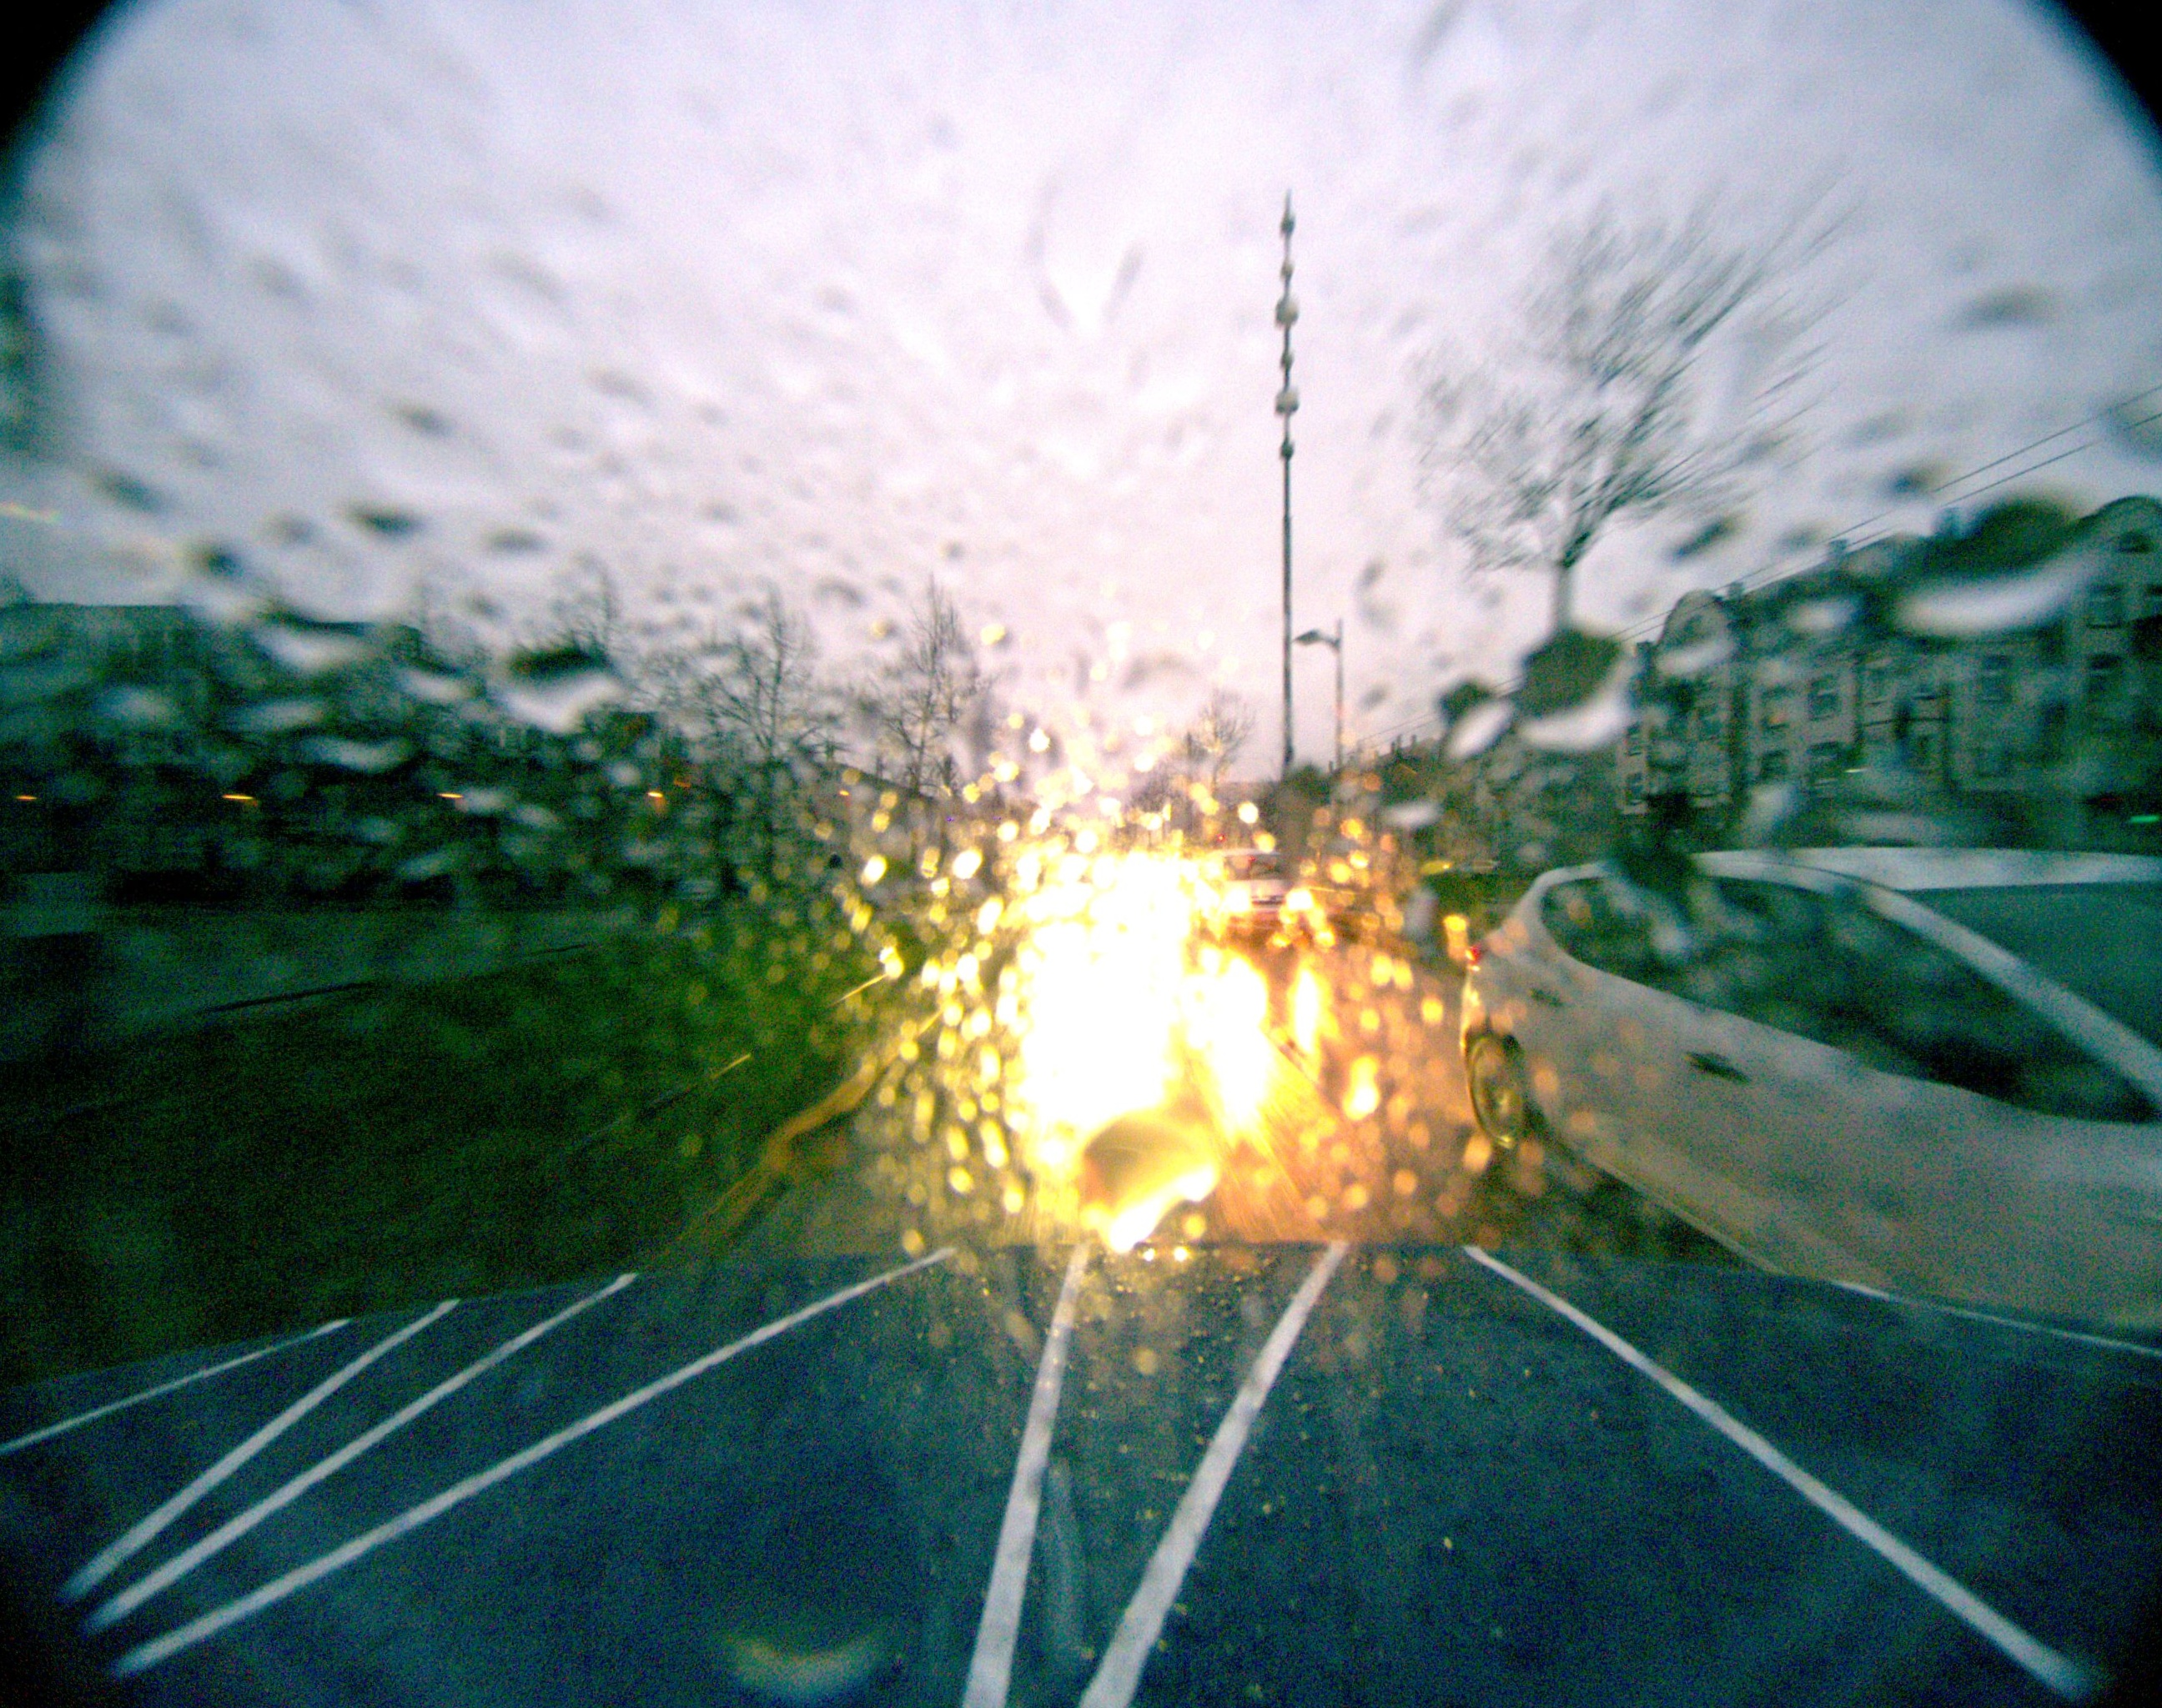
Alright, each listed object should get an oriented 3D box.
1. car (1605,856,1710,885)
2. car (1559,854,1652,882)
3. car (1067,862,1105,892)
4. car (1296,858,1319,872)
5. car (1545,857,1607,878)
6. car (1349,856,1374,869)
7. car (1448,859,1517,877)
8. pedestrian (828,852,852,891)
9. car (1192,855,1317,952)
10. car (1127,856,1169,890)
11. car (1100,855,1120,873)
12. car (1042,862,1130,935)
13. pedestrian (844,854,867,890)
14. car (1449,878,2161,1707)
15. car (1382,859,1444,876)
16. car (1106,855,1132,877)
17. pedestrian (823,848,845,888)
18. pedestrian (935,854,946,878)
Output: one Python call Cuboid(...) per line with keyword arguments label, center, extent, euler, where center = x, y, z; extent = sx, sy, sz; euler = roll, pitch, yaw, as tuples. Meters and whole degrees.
Cuboid(label="car", center=(28.995, 0.847, 38.265), extent=(4.095, 1.154, 1.715), euler=(-4, 1, 40))
Cuboid(label="car", center=(28.653, 0.785, 41.563), extent=(4.034, 1.223, 1.351), euler=(-4, 1, 37))
Cuboid(label="car", center=(0.246, 1.096, 37.135), extent=(1.736, 1.311, 3.803), euler=(-2, 0, 1))
Cuboid(label="car", center=(25.976, 1.239, 87.212), extent=(1.549, 1.495, 3.784), euler=(-2, 0, 2))
Cuboid(label="car", center=(28.941, 0.805, 44.435), extent=(2.912, 0.984, 1.798), euler=(-4, 1, 36))
Cuboid(label="car", center=(30.892, 0.905, 83.645), extent=(1.468, 1.332, 3.911), euler=(-2, 0, 3))
Cuboid(label="car", center=(30.083, 1.068, 57.002), extent=(4.254, 1.250, 1.837), euler=(-2, 0, 41))
Cuboid(label="pedestrian", center=(-10.175, 0.751, 32.126), extent=(0.673, 1.615, 0.615), euler=(-2, 1, 16))
Cuboid(label="car", center=(3.124, 0.817, 14.370), extent=(1.637, 1.510, 3.908), euler=(-2, 0, 3))
Cuboid(label="car", center=(3.275, 0.889, 37.395), extent=(1.905, 1.475, 3.656), euler=(-2, 0, 4))
Cuboid(label="car", center=(2.844, 0.986, 75.018), extent=(1.802, 1.674, 3.806), euler=(-2, 0, 1))
Cuboid(label="car", center=(0.117, 0.894, 16.701), extent=(1.669, 1.325, 3.787), euler=(-2, 0, 1))
Cuboid(label="pedestrian", center=(-10.083, 0.795, 33.962), extent=(0.673, 1.603, 0.615), euler=(-2, 1, 15))
Cuboid(label="car", center=(2.777, 0.893, 2.002), extent=(1.692, 1.465, 4.001), euler=(-2, 0, 1))
Cuboid(label="car", center=(29.067, 1.194, 66.634), extent=(4.651, 1.423, 1.697), euler=(-2, 0, 37))
Cuboid(label="car", center=(2.501, 0.785, 50.879), extent=(1.538, 1.347, 3.546), euler=(-2, 0, 1))
Cuboid(label="pedestrian", center=(-11.113, 0.641, 34.172), extent=(0.673, 1.767, 0.615), euler=(-2, 1, 15))
Cuboid(label="pedestrian", center=(-9.980, 0.834, 54.134), extent=(0.669, 1.646, 0.994), euler=(0, 1, -4))
